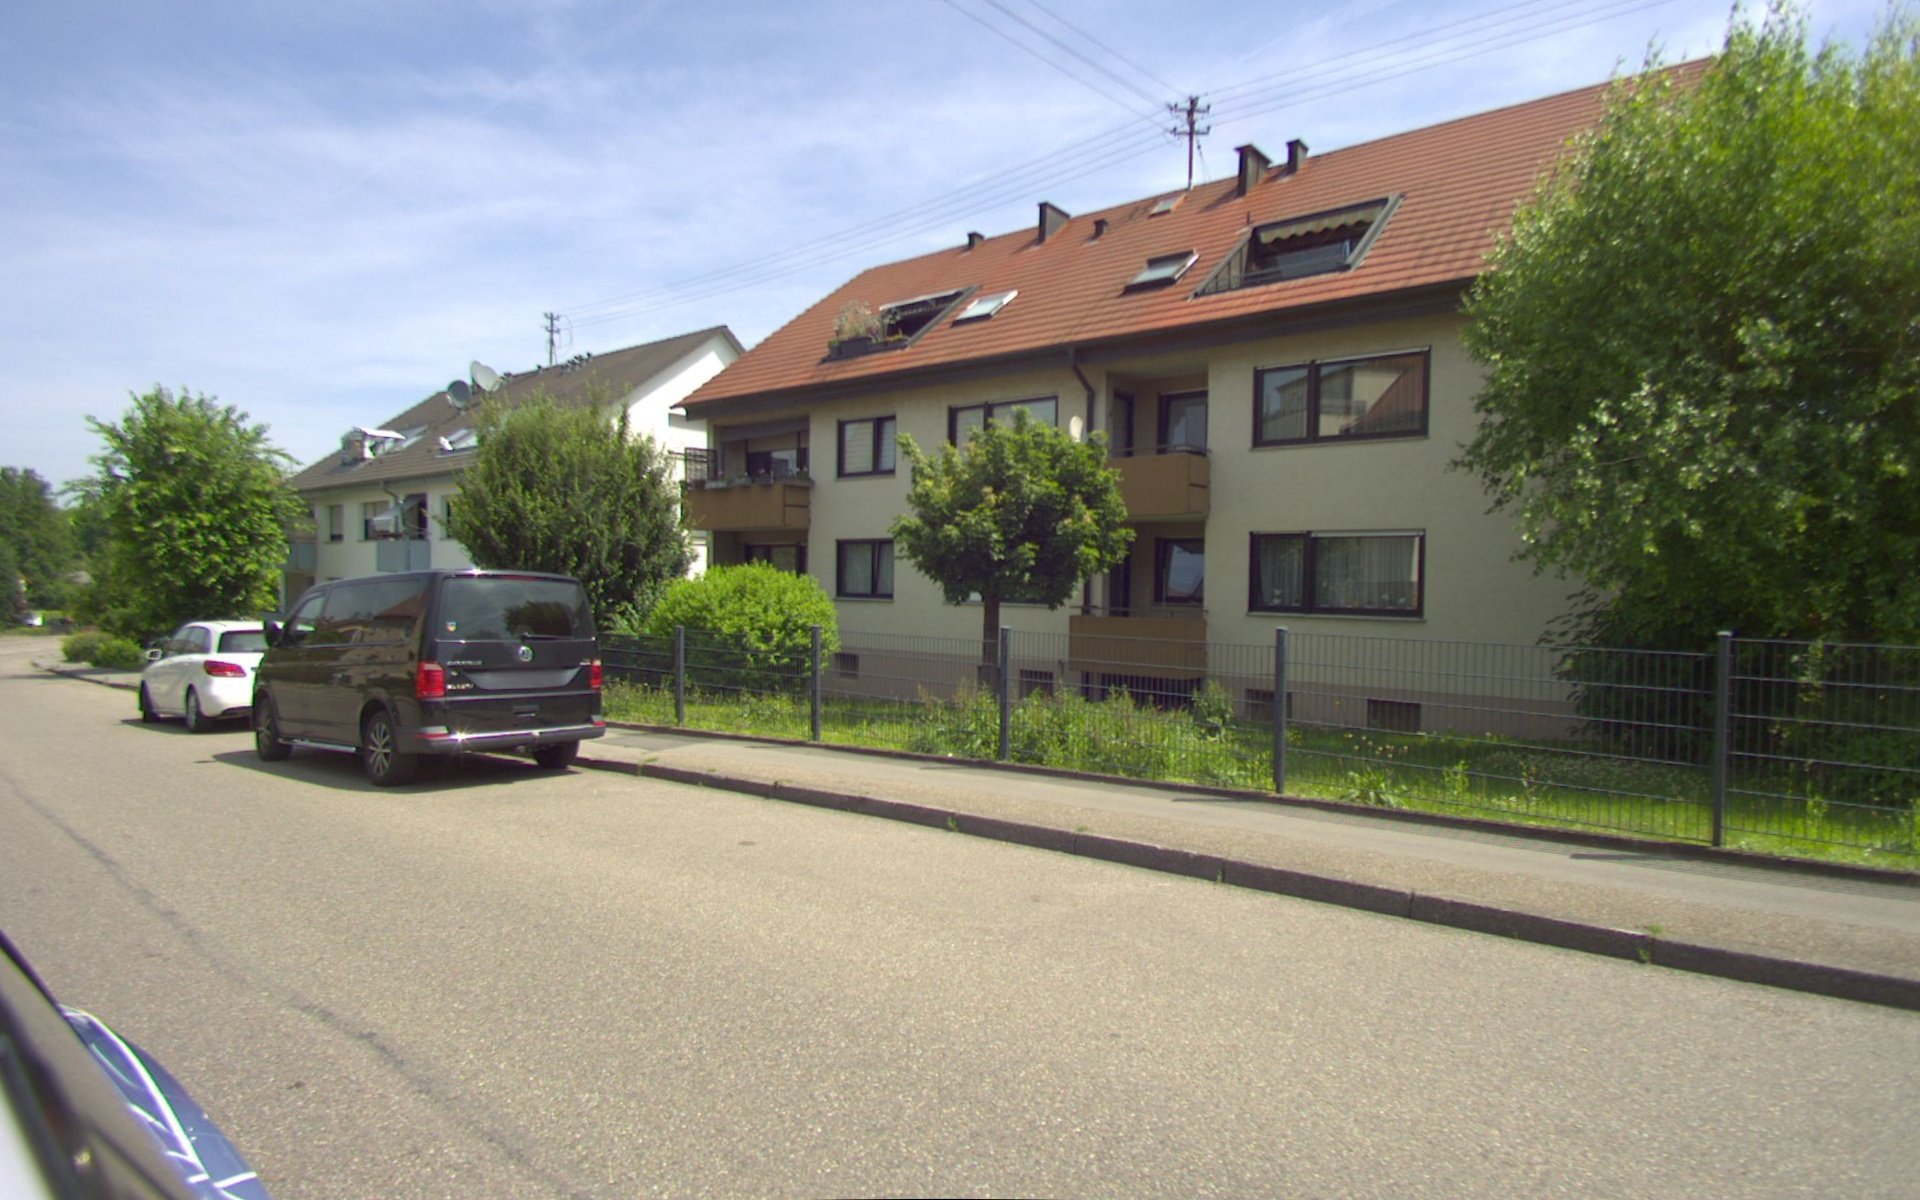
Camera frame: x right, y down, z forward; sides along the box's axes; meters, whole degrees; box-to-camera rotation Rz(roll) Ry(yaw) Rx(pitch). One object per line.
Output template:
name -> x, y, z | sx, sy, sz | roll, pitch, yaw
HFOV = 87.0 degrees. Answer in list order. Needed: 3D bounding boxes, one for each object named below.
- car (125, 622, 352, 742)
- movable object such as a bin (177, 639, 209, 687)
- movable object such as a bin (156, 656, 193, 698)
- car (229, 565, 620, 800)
car -> -11.110, 1.160, 15.484 | 4.239, 1.561, 1.793 | -2, -2, 39
movable object such as a bin -> -16.444, 1.337, 21.708 | 0.500, 0.995, 0.564 | 0, -2, -42
movable object such as a bin -> -18.159, 1.768, 23.396 | 0.612, 0.924, 0.687 | 1, -2, -42
car -> -5.778, 0.773, 10.644 | 4.865, 1.935, 1.878 | -2, -3, 39
